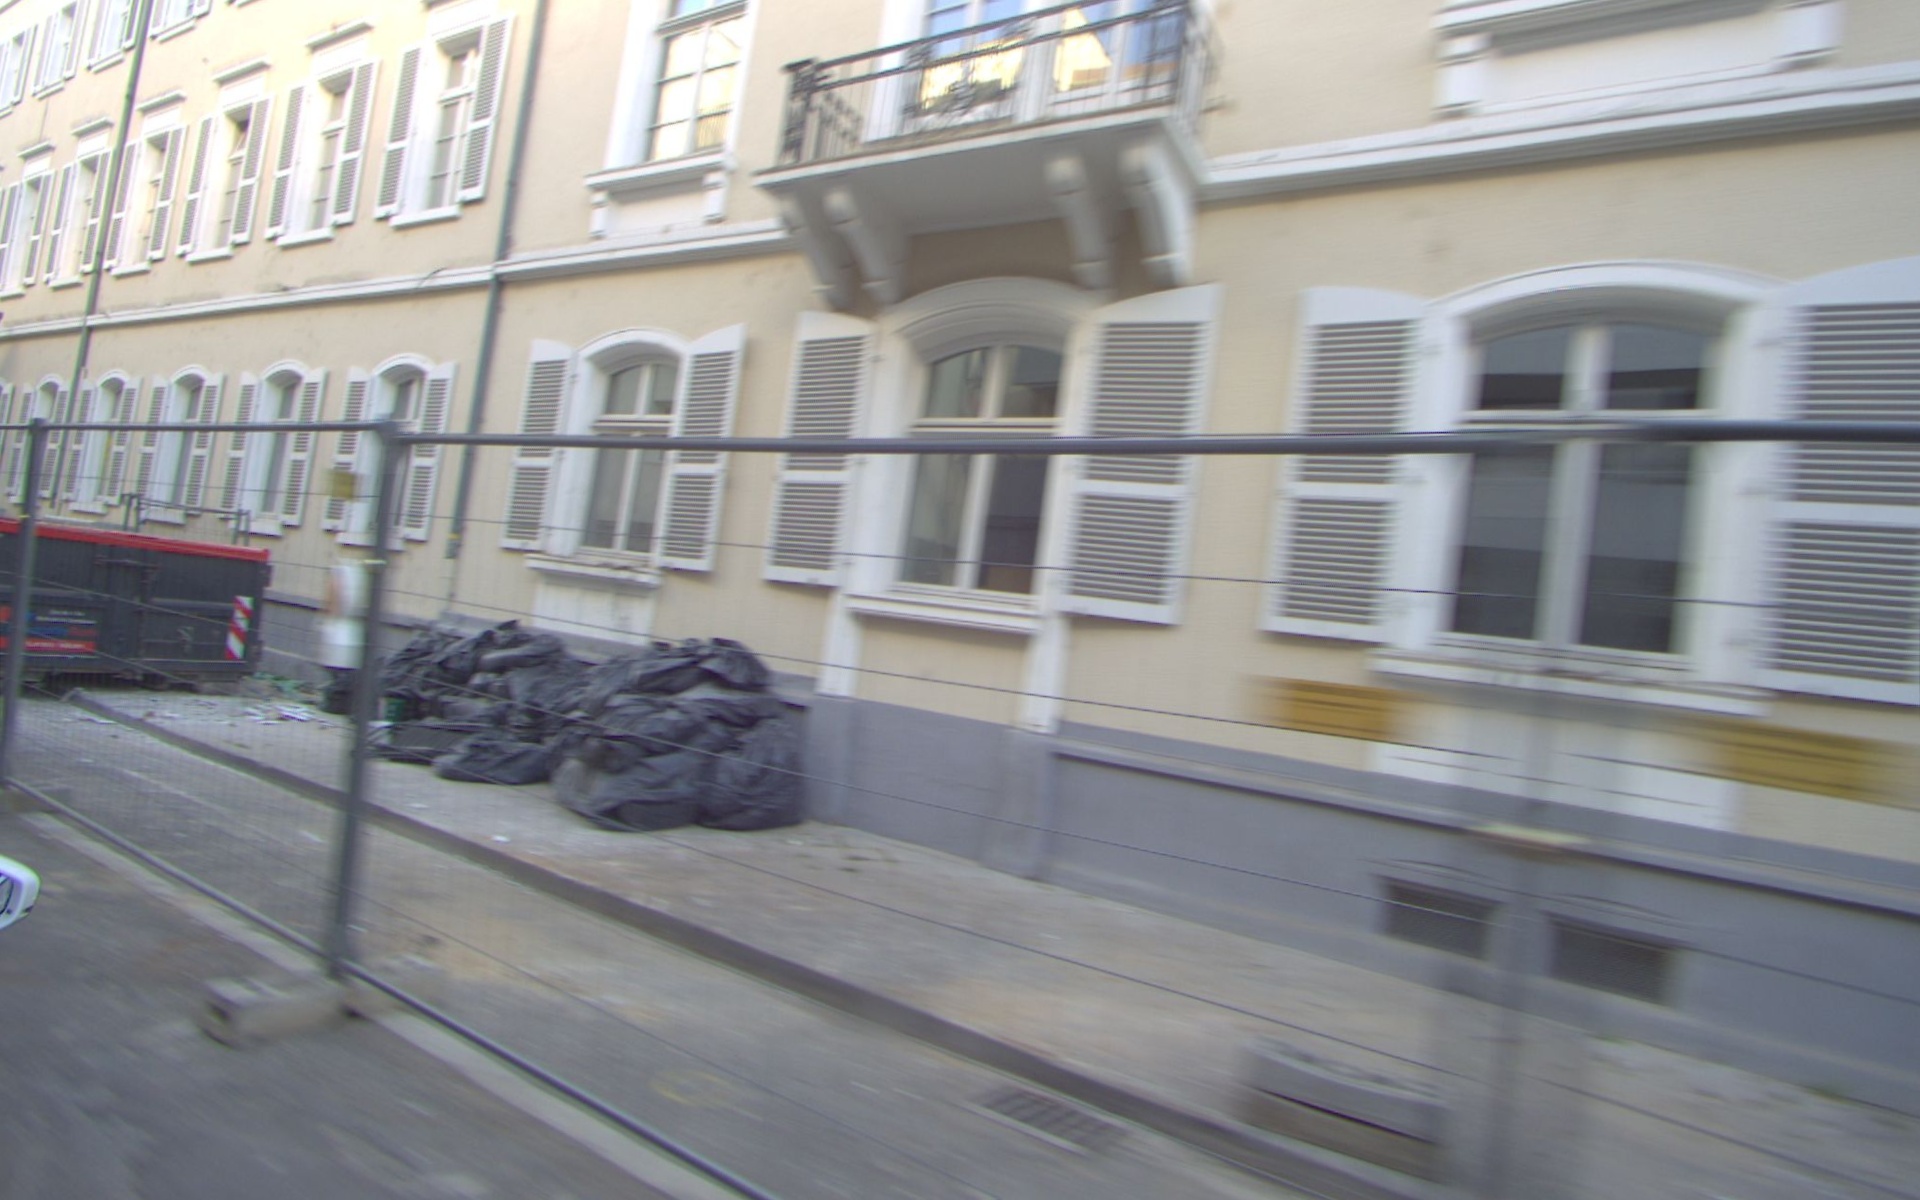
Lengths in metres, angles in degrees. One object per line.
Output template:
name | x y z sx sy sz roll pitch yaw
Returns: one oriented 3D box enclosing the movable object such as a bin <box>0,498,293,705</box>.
movable object such as a bin | -11.045 -0.253 11.337 7.425 1.655 2.746 6 -5 30
